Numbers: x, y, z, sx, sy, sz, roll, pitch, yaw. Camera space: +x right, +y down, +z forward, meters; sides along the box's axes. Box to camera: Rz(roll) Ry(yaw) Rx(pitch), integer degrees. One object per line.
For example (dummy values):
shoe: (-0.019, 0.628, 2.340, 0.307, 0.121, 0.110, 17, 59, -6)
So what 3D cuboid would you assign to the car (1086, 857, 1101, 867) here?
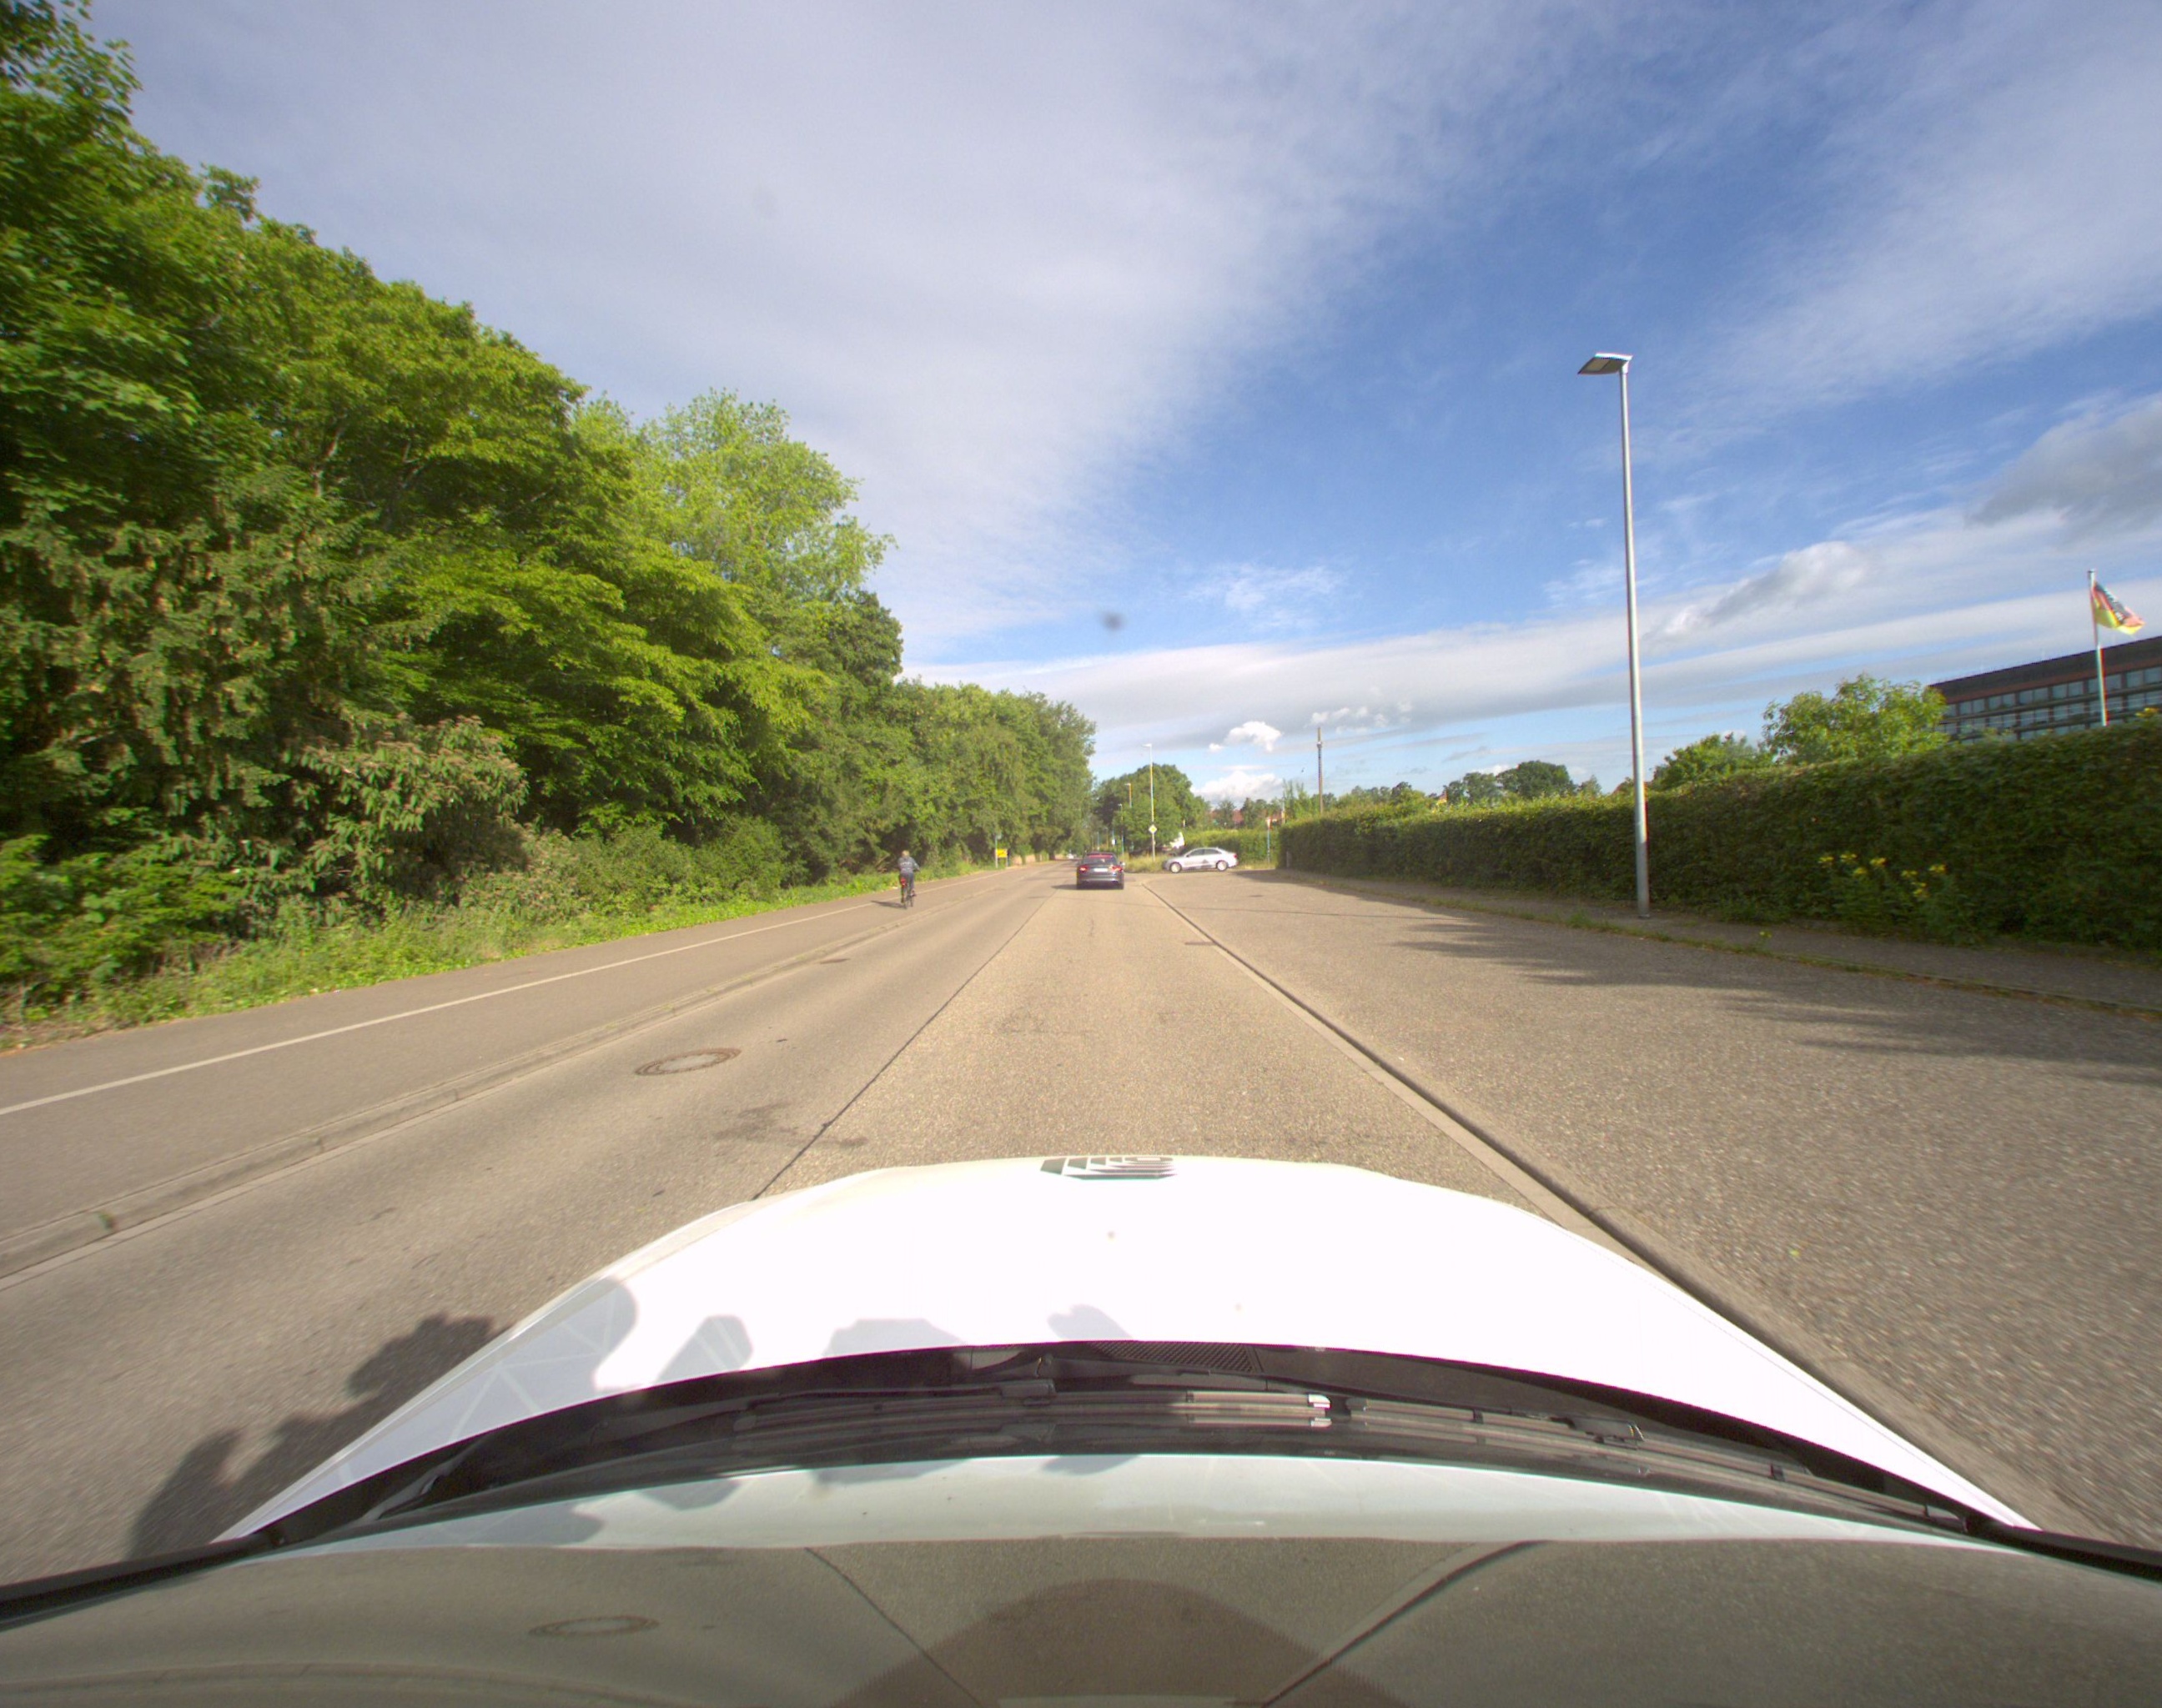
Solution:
car: (1.684, 1.087, 111.408, 1.880, 1.372, 4.054, -2, 0, 0)

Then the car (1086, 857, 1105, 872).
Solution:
car: (1.516, 1.061, 84.267, 1.880, 1.465, 4.054, -2, 0, 0)

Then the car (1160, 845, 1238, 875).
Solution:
car: (6.773, 0.342, 46.884, 4.338, 1.443, 1.936, -3, -1, 7)

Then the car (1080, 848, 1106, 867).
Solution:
car: (0.926, 0.270, 64.410, 1.880, 1.372, 4.054, -2, 0, 0)

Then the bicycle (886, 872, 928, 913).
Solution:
bicycle: (-5.074, 1.096, 23.936, 0.660, 1.097, 2.349, 0, 0, 2)

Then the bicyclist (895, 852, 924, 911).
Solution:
bicyclist: (-5.058, 0.798, 24.059, 0.606, 1.676, 0.884, -1, 0, 1)

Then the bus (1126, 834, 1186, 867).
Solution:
bus: (7.031, -0.334, 76.824, 5.351, 2.746, 2.067, -3, 0, -2)

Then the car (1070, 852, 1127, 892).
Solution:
car: (0.759, 0.662, 32.150, 1.957, 1.434, 4.341, -1, 0, 4)
